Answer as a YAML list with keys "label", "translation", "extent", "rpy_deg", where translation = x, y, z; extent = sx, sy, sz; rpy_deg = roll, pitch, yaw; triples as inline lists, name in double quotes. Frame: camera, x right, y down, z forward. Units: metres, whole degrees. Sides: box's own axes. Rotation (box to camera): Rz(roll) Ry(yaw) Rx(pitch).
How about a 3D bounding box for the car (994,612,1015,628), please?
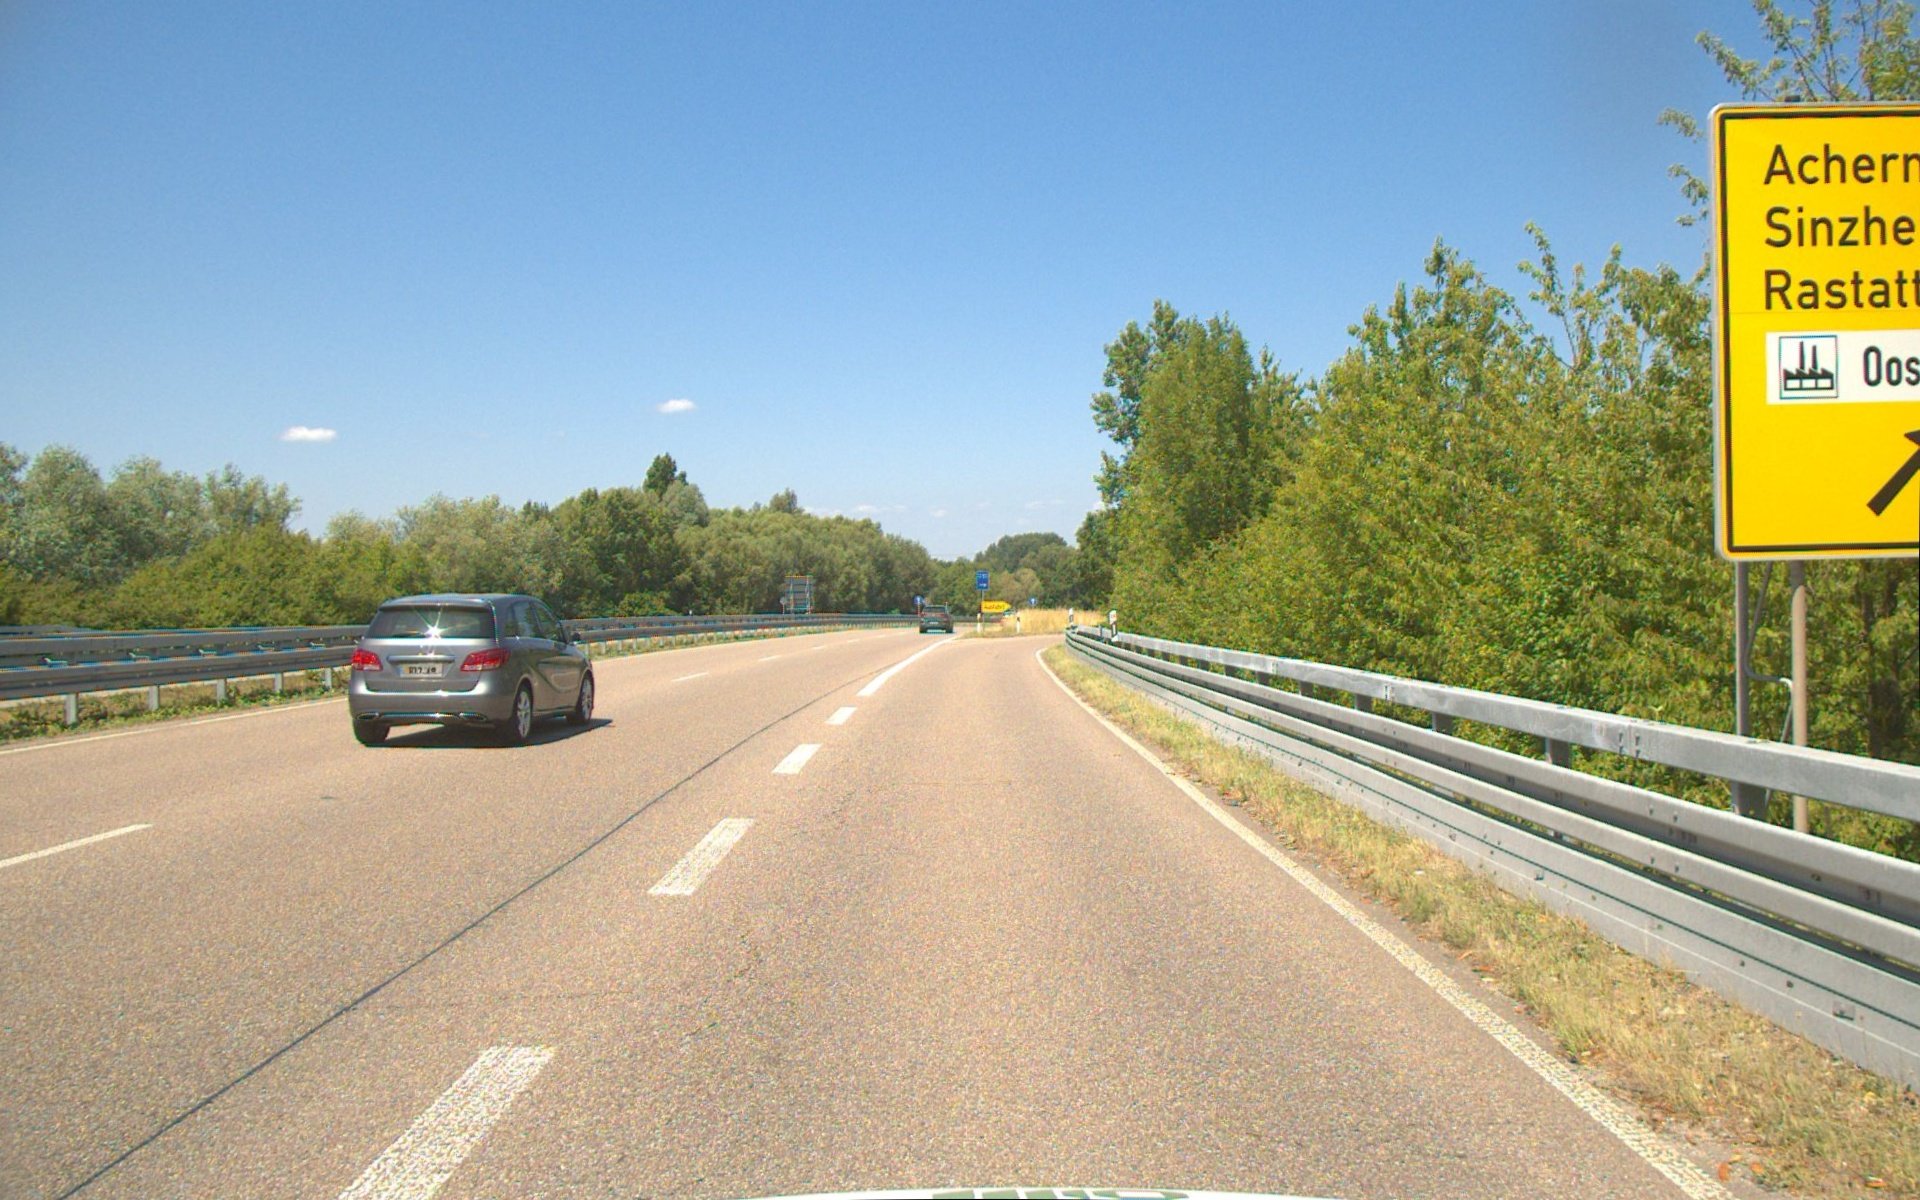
- label: "car"
  translation: [4.387, 1.948, 163.642]
  extent: [1.802, 1.489, 4.003]
  rpy_deg: [1, 1, 5]

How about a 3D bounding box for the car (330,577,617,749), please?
- label: "car"
  translation: [-5.319, 0.609, 18.751]
  extent: [1.756, 1.697, 4.556]
  rpy_deg: [0, 0, 2]

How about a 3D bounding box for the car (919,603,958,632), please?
- label: "car"
  translation: [-1.217, 0.986, 95.482]
  extent: [1.802, 1.556, 4.472]
  rpy_deg: [1, 1, 4]
